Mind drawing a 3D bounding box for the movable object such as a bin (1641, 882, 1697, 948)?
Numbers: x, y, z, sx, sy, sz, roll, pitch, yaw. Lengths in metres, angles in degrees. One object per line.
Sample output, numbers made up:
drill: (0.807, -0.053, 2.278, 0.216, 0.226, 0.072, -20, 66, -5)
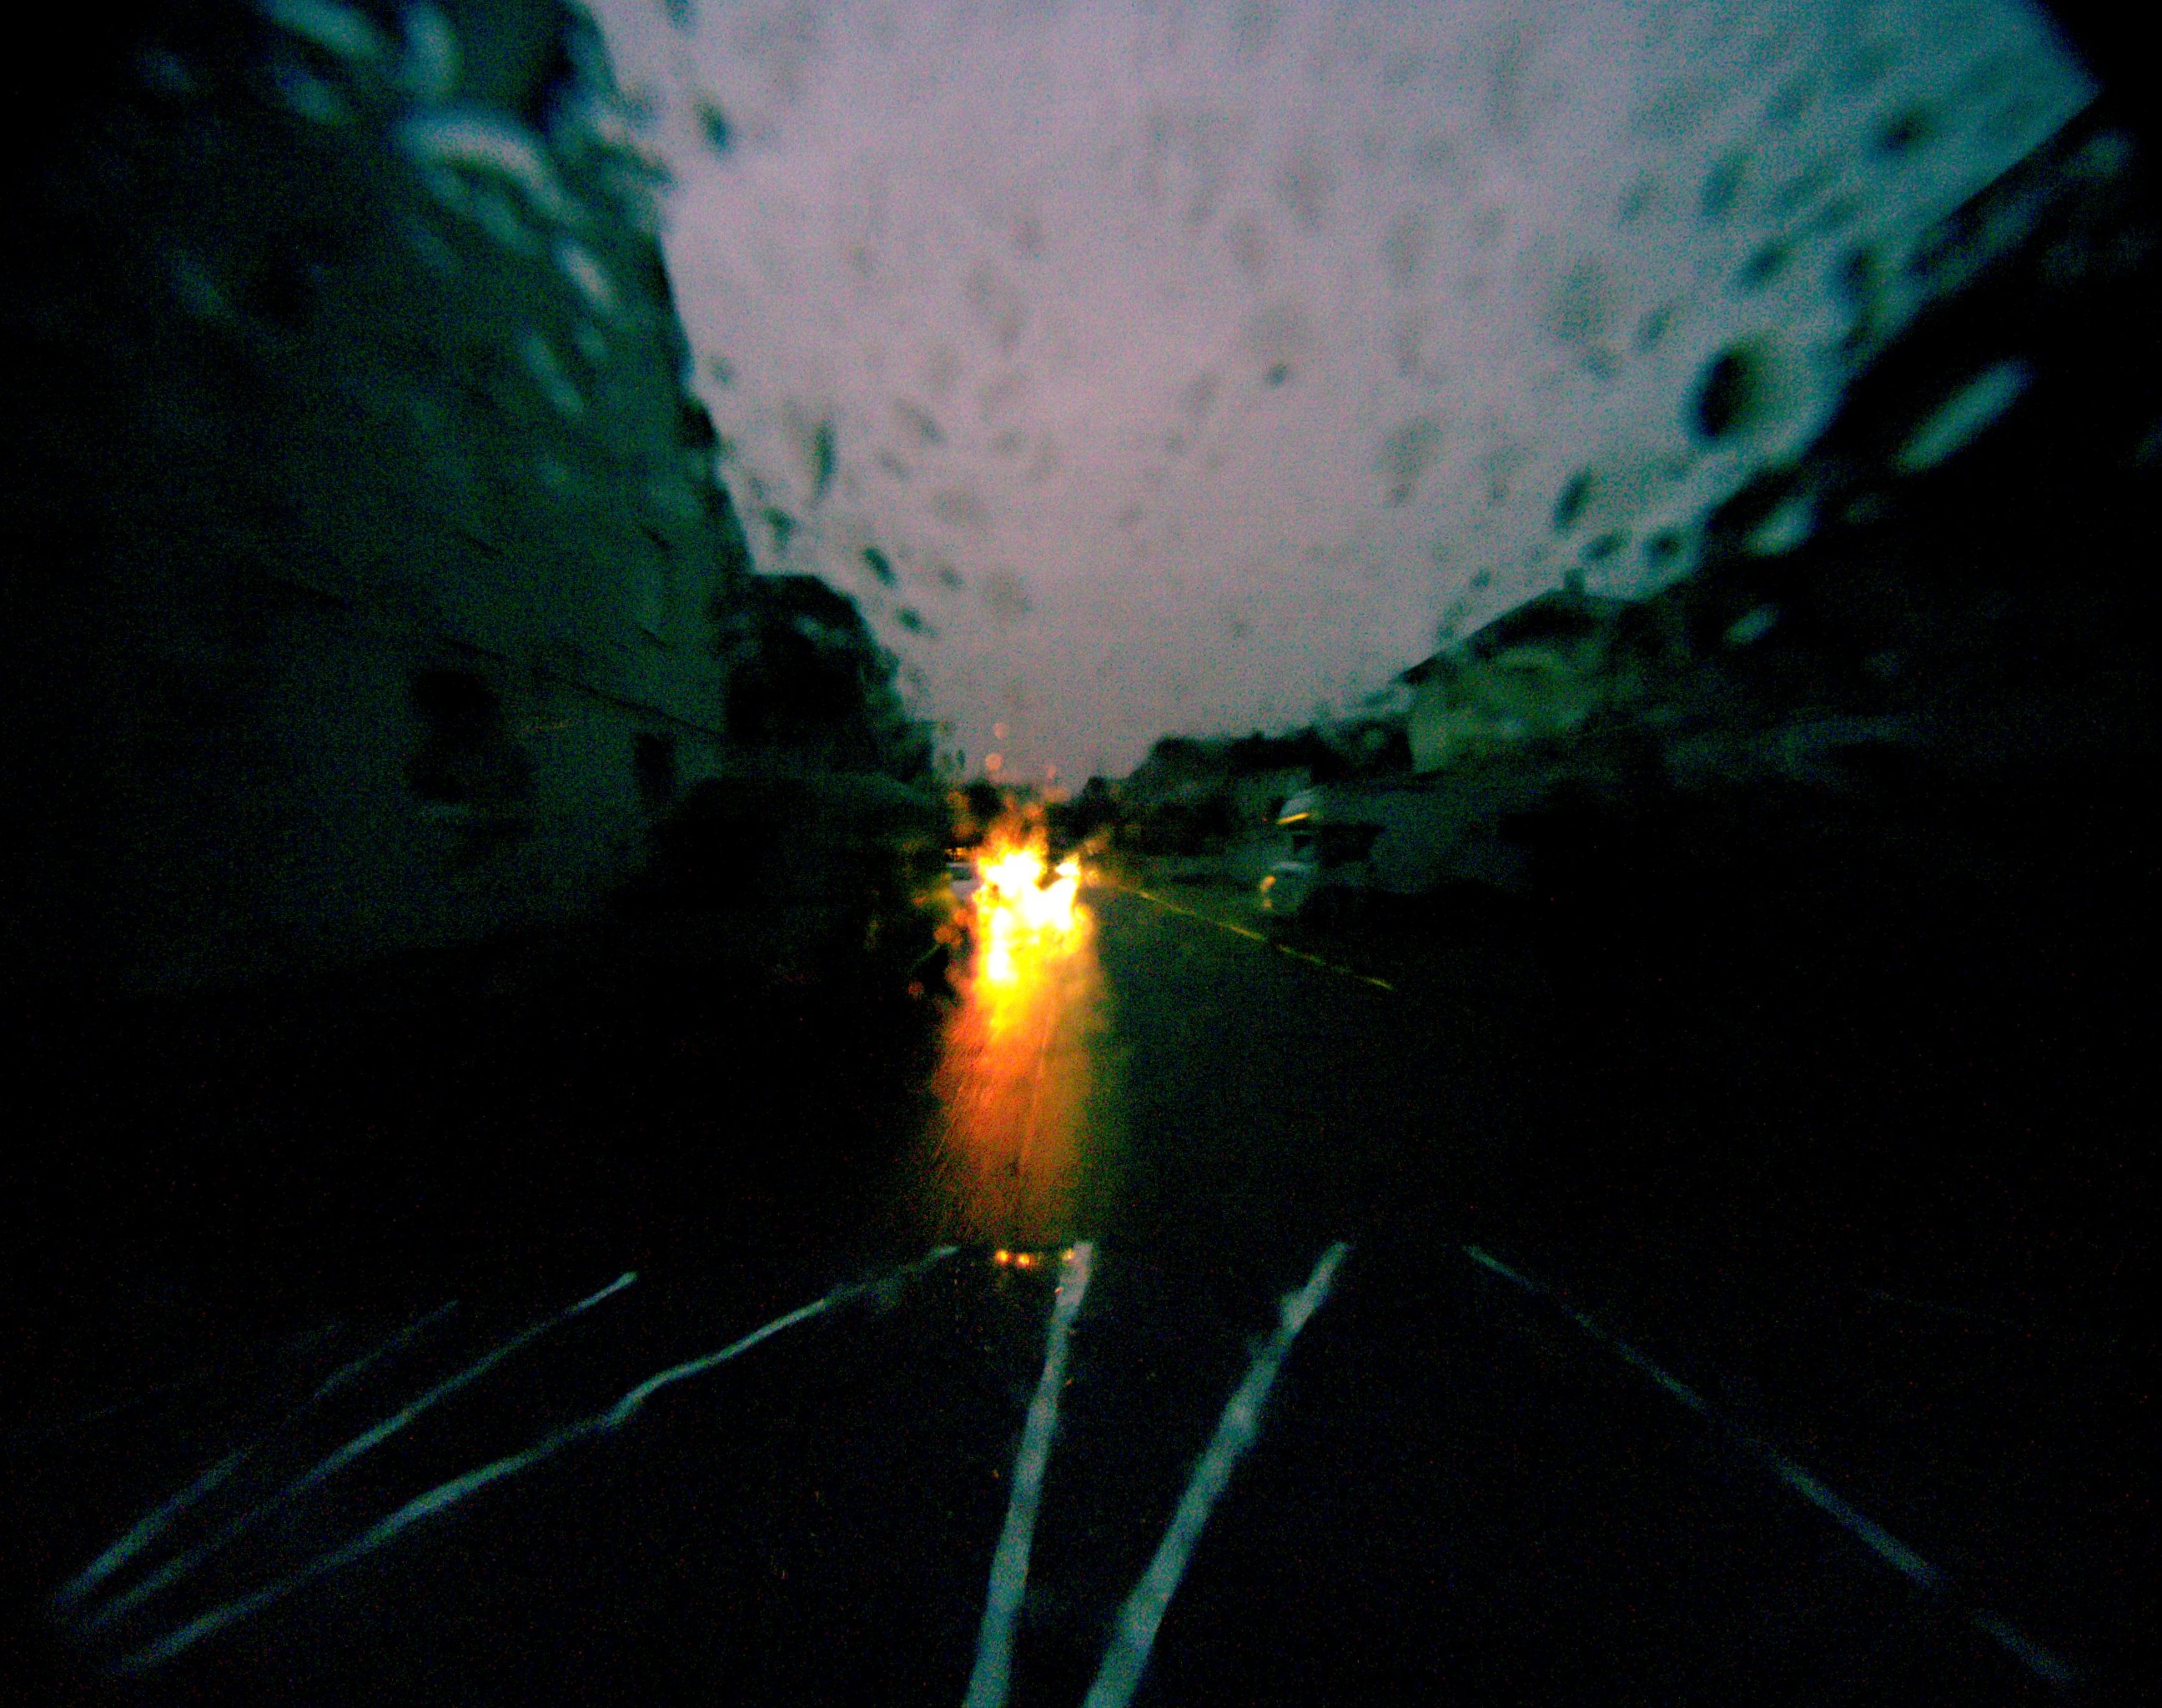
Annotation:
movable object such as a bin: (8.778, 0.899, 11.360, 0.457, 0.942, 0.502, -1, 0, 6)

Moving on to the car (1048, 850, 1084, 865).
car: (-1.774, 0.419, 91.575, 3.994, 1.652, 1.756, -1, 0, 8)

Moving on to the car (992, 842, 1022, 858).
car: (-9.116, -0.501, 93.622, 1.855, 1.872, 4.874, -1, 0, -30)

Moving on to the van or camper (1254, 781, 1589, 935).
van or camper: (7.053, 0.067, 16.347, 6.073, 2.925, 2.323, 1, 1, 1)

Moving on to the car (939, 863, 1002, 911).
car: (-3.618, 1.035, 25.521, 1.740, 1.398, 4.303, -1, 0, -4)

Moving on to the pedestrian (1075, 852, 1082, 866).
pedestrian: (-0.281, 0.543, 84.186, 0.591, 1.463, 0.581, -2, 1, -5)

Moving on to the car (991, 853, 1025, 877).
car: (-5.109, 0.733, 52.943, 1.992, 1.549, 4.232, -1, 0, -10)

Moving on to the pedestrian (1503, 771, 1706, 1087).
pedestrian: (3.590, 0.480, 5.295, 0.785, 2.002, 0.869, -2, 1, 2)

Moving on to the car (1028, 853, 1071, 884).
car: (-1.772, 0.750, 41.318, 1.992, 1.549, 4.233, -1, 0, -7)

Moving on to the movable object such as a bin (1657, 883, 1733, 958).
movable object such as a bin: (8.697, 0.929, 10.782, 0.617, 1.015, 0.581, -1, 0, 6)

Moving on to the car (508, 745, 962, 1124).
car: (-2.713, 0.526, 7.814, 2.014, 2.439, 5.614, -2, 0, 0)

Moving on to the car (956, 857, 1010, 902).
car: (-3.785, 0.928, 29.987, 1.815, 1.530, 4.302, -1, 1, -4)

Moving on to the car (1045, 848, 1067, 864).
car: (-2.833, 0.240, 84.832, 1.756, 1.652, 3.995, -1, 0, -12)

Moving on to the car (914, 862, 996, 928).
car: (-3.170, 0.972, 19.857, 1.648, 1.469, 4.370, -1, 0, -4)
